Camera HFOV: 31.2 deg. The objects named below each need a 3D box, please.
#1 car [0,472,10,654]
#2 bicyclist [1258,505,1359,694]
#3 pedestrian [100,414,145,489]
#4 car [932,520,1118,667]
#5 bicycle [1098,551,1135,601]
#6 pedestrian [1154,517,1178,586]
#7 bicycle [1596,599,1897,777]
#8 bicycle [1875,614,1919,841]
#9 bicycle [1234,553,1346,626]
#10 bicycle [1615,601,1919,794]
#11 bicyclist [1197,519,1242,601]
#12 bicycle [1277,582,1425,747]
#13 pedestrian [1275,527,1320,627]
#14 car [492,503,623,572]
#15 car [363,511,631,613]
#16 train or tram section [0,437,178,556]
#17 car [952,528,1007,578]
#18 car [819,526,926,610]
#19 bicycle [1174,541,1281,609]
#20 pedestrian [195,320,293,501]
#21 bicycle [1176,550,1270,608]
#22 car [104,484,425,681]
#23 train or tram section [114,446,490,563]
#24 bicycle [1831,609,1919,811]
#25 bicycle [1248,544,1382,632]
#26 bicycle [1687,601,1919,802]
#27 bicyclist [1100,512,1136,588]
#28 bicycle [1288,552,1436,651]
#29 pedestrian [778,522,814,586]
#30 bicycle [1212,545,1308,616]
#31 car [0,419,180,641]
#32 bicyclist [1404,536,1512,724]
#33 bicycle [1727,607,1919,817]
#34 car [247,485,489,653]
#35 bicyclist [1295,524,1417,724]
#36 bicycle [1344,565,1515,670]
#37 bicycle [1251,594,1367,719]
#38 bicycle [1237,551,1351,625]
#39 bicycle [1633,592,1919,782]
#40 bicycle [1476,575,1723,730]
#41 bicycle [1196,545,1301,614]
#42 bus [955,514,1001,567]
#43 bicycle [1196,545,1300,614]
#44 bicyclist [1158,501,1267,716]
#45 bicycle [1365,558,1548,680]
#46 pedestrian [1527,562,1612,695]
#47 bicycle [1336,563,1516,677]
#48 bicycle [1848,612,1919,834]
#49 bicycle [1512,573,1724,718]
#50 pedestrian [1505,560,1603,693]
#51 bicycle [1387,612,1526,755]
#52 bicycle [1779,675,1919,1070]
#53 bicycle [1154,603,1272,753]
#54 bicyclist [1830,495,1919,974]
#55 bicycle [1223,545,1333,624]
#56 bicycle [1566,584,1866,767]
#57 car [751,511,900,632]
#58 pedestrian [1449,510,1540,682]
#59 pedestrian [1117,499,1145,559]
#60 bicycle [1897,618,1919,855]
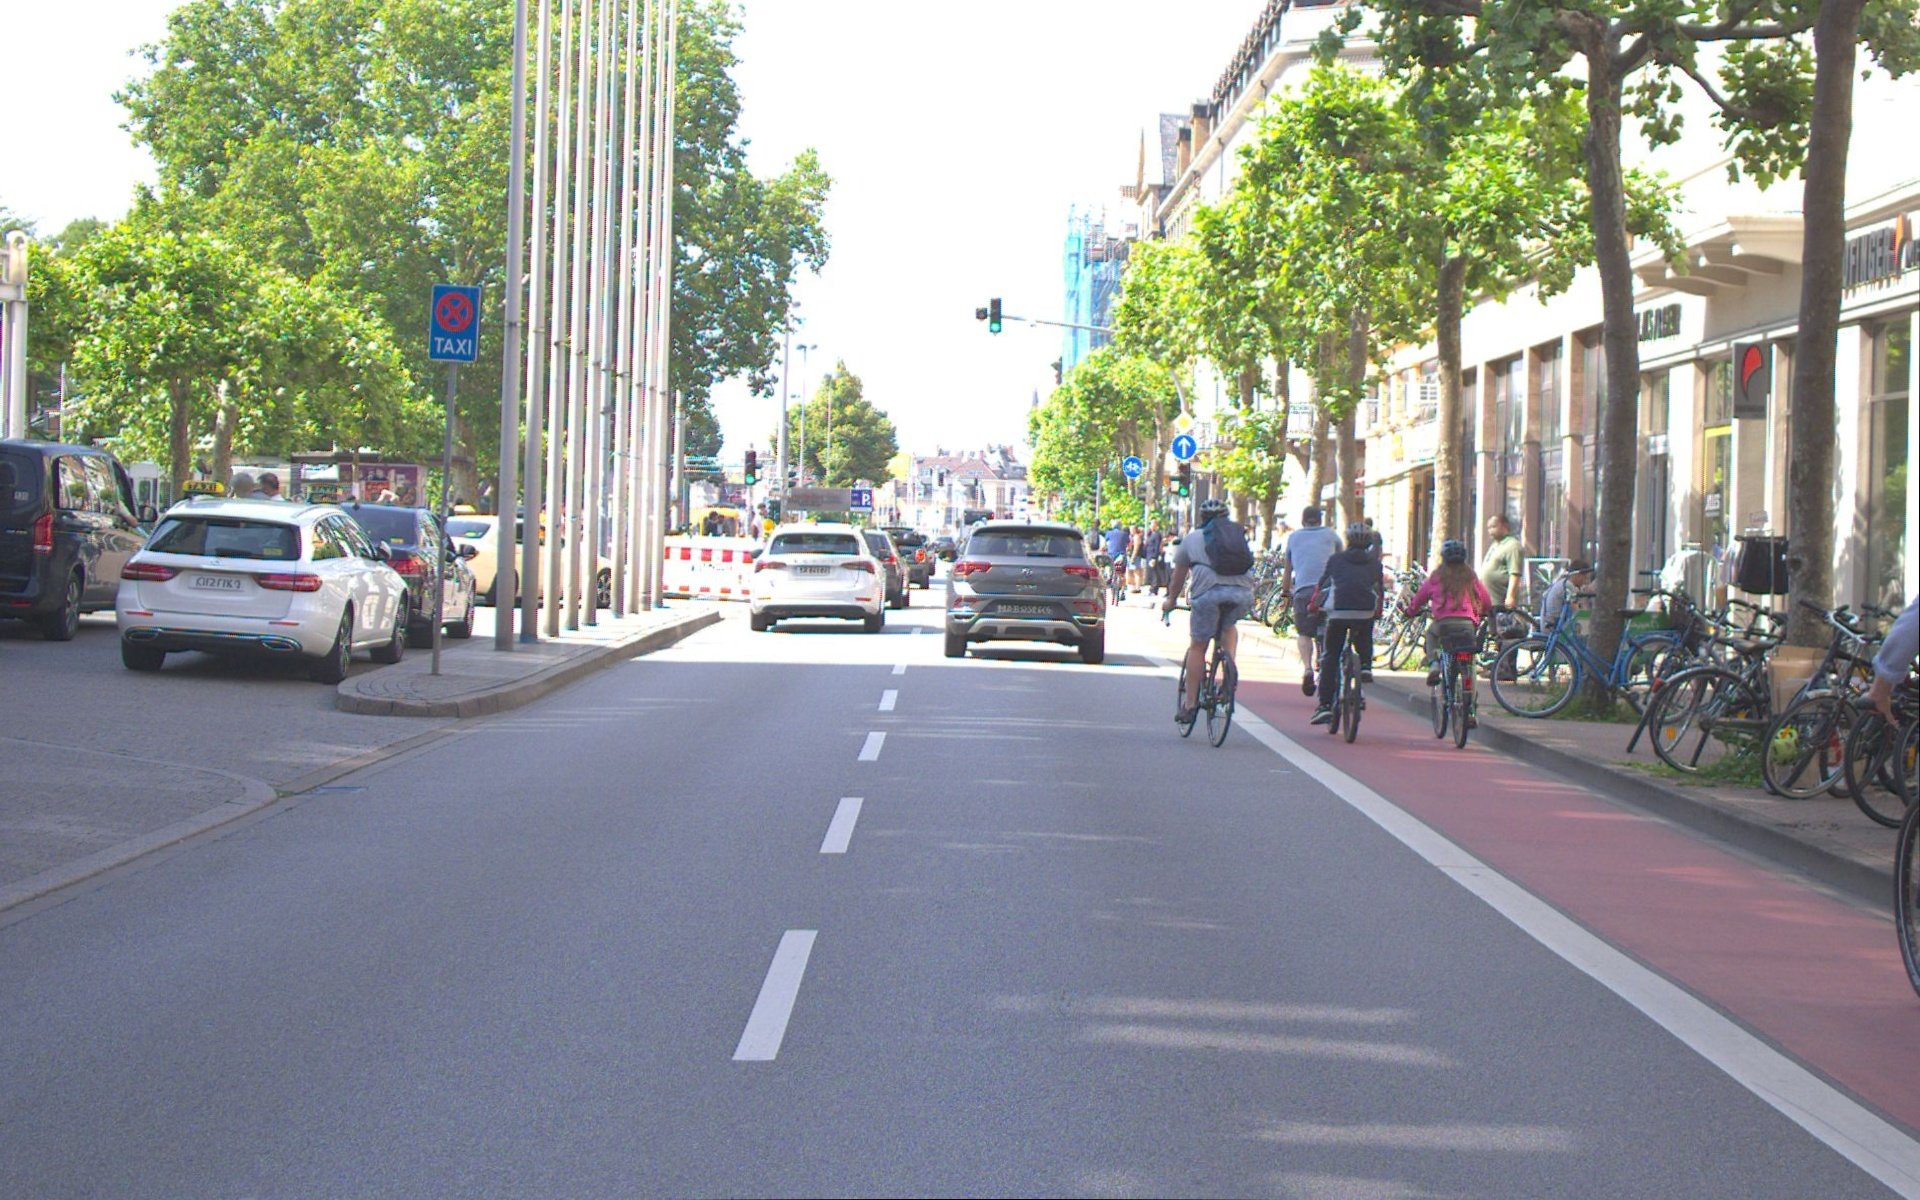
[{"bbox_3d":[-9.255,-0.325,28.122,1.993,1.605,4.401,3,1,-5],"label":"car"},{"bbox_3d":[3.085,-0.014,30.480,0.774,1.629,0.851,1,1,0],"label":"bicyclist"},{"bbox_3d":[-19.939,-3.530,81.884,0.605,1.743,0.802,1,0,32],"label":"pedestrian"},{"bbox_3d":[0.681,-0.118,38.968,1.845,1.554,4.001,1,1,-2],"label":"car"},{"bbox_3d":[3.242,-0.511,71.309,0.647,0.994,2.031,2,1,0],"label":"bicycle"},{"bbox_3d":[4.875,-1.142,81.503,0.549,1.625,0.589,0,0,3],"label":"pedestrian"},{"bbox_3d":[5.285,0.590,23.122,1.839,1.089,0.565,3,1,-10],"label":"bicycle"},{"bbox_3d":[5.586,0.656,17.261,1.840,1.123,0.448,1,0,3],"label":"bicycle"},{"bbox_3d":[5.286,-0.168,55.192,1.728,1.105,0.477,2,1,3],"label":"bicycle"},{"bbox_3d":[5.081,0.600,21.409,1.840,1.089,0.564,3,1,0],"label":"bicycle"},{"bbox_3d":[5.712,-0.887,75.710,0.573,1.791,0.857,-1,2,-34],"label":"bicyclist"},{"bbox_3d":[2.920,0.463,25.837,0.698,1.123,2.082,3,1,-3],"label":"bicycle"},{"bbox_3d":[5.536,-0.380,56.466,0.615,1.607,0.745,2,1,1],"label":"pedestrian"},{"bbox_3d":[-12.105,-1.870,103.645,1.861,1.948,4.755,2,1,21],"label":"car"},{"bbox_3d":[-7.563,-0.645,56.658,1.894,1.536,4.854,3,2,27],"label":"car"},{"bbox_3d":[-30.465,-3.371,111.309,2.618,3.664,10.979,3,1,35],"label":"train or tram section"},{"bbox_3d":[0.711,-1.740,126.126,1.845,1.662,4.000,3,1,-1],"label":"car"},{"bbox_3d":[-1.564,-0.602,62.341,1.845,1.444,4.000,1,1,-1],"label":"car"},{"bbox_3d":[5.266,-0.491,67.636,1.932,1.253,0.705,2,1,-19],"label":"bicycle"},{"bbox_3d":[-7.250,-1.913,34.802,0.619,1.786,0.691,3,1,39],"label":"pedestrian"},{"bbox_3d":[5.240,-0.417,68.518,1.781,1.118,0.563,1,1,-3],"label":"bicycle"},{"bbox_3d":[-6.012,-0.210,30.257,1.799,1.518,4.739,3,2,0],"label":"car"},{"bbox_3d":[-23.008,-3.299,121.830,2.618,3.664,15.516,3,1,35],"label":"train or tram section"},{"bbox_3d":[5.855,0.633,19.998,1.840,1.123,0.448,1,0,-37],"label":"bicycle"},{"bbox_3d":[5.363,-0.186,52.023,1.931,1.244,0.736,2,1,3],"label":"bicycle"},{"bbox_3d":[5.108,0.586,20.053,1.840,1.123,0.594,1,0,-36],"label":"bicycle"},{"bbox_3d":[3.270,-1.035,71.191,0.647,1.545,0.817,2,1,0],"label":"bicyclist"},{"bbox_3d":[5.239,0.015,44.927,1.840,1.182,0.670,3,1,5],"label":"bicycle"},{"bbox_3d":[-4.120,-1.157,86.361,0.633,1.590,0.686,2,0,21],"label":"pedestrian"},{"bbox_3d":[5.368,-0.350,61.497,1.649,1.197,0.474,2,1,3],"label":"bicycle"},{"bbox_3d":[-9.131,-0.716,33.738,1.832,2.007,4.685,2,1,0],"label":"car"},{"bbox_3d":[3.712,0.214,25.656,0.600,1.353,0.721,3,2,-3],"label":"bicyclist"},{"bbox_3d":[5.227,0.621,19.024,1.843,1.123,0.447,1,0,28],"label":"bicycle"},{"bbox_3d":[-6.126,-0.361,36.054,1.761,1.594,4.710,2,1,-1],"label":"car"},{"bbox_3d":[2.946,0.171,25.631,0.698,1.435,0.791,3,1,-3],"label":"bicyclist"},{"bbox_3d":[5.292,0.195,38.820,1.840,1.093,0.794,2,1,5],"label":"bicycle"},{"bbox_3d":[3.076,0.481,30.508,0.774,1.002,2.329,1,1,0],"label":"bicycle"},{"bbox_3d":[5.278,-0.197,54.358,1.728,1.105,0.402,2,1,3],"label":"bicycle"},{"bbox_3d":[5.426,0.566,22.379,1.839,1.123,0.766,4,-1,-13],"label":"bicycle"},{"bbox_3d":[5.219,0.428,28.075,1.839,1.123,0.497,4,2,-8],"label":"bicycle"},{"bbox_3d":[5.258,-0.378,62.717,1.844,1.197,0.545,2,1,3],"label":"bicycle"},{"bbox_3d":[1.242,-4.230,245.835,2.995,3.581,11.745,2,1,-1],"label":"bus"},{"bbox_3d":[5.294,-0.380,63.223,1.844,1.197,0.608,2,1,3],"label":"bicycle"},{"bbox_3d":[1.788,0.054,24.522,0.630,1.476,1.198,2,1,-1],"label":"bicyclist"},{"bbox_3d":[5.207,0.192,36.098,1.840,1.193,0.673,2,1,7],"label":"bicycle"},{"bbox_3d":[5.811,0.265,32.789,0.639,1.228,0.597,3,0,-2],"label":"pedestrian"},{"bbox_3d":[5.039,0.207,37.166,1.841,1.123,0.497,3,1,11],"label":"bicycle"},{"bbox_3d":[5.566,0.647,17.721,1.840,1.123,0.448,1,0,3],"label":"bicycle"},{"bbox_3d":[5.697,0.394,29.736,1.774,1.193,0.578,2,1,-27],"label":"bicycle"},{"bbox_3d":[5.765,0.254,33.385,0.787,1.239,0.576,3,0,-2],"label":"pedestrian"},{"bbox_3d":[3.687,0.605,25.671,0.600,0.922,2.088,3,2,-3],"label":"bicycle"},{"bbox_3d":[3.224,0.854,10.670,0.698,1.123,2.082,3,1,-3],"label":"bicycle"},{"bbox_3d":[1.778,0.530,24.386,0.630,0.976,2.089,2,1,-1],"label":"bicycle"},{"bbox_3d":[3.241,0.413,10.703,0.698,1.440,0.961,3,1,-3],"label":"bicyclist"},{"bbox_3d":[5.197,-0.257,56.277,1.728,1.213,0.477,2,1,3],"label":"bicycle"},{"bbox_3d":[5.186,0.516,23.621,1.839,1.123,0.632,4,0,-10],"label":"bicycle"},{"bbox_3d":[-1.795,-0.420,47.092,1.845,1.554,4.000,1,1,0],"label":"car"},{"bbox_3d":[5.445,-0.053,35.053,0.639,1.683,0.843,4,2,-2],"label":"pedestrian"},{"bbox_3d":[4.416,-1.827,88.931,0.610,1.510,0.678,-3,1,-2],"label":"pedestrian"},{"bbox_3d":[5.486,0.706,16.462,1.841,1.123,0.530,4,0,12],"label":"bicycle"}]
